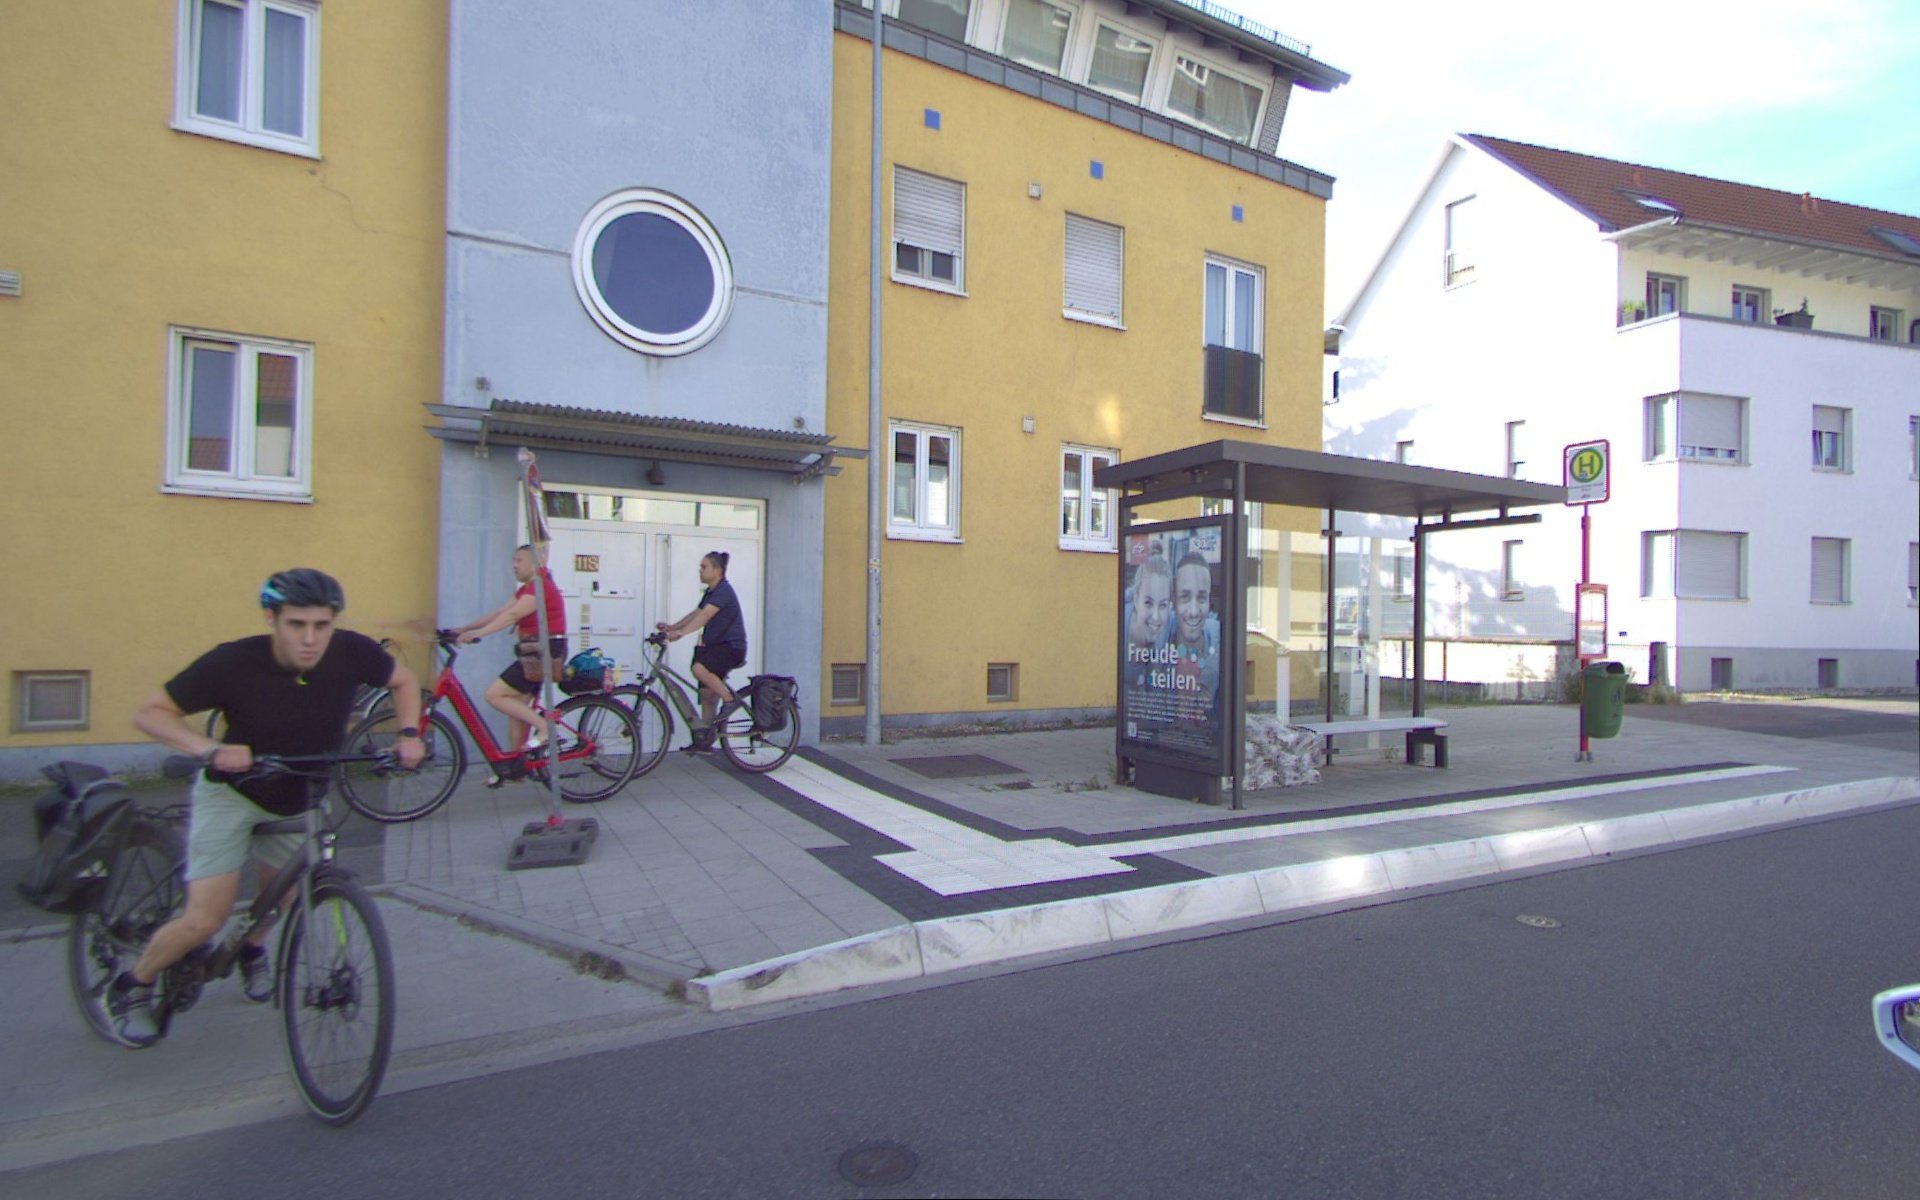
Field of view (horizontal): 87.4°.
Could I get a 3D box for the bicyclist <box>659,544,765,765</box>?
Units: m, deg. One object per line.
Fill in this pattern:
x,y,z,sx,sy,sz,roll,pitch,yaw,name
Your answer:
-2.023,0.421,8.168,0.658,1.691,0.670,1,1,-30,bicyclist

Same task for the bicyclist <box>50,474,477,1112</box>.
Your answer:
-2.240,0.513,3.274,0.862,1.712,0.844,2,1,30,bicyclist

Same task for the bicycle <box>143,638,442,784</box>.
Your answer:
-5.169,0.824,7.945,1.883,1.010,0.713,1,0,-29,bicycle

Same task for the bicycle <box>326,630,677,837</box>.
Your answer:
-2.943,0.797,6.574,1.999,1.176,0.608,1,1,-31,bicycle

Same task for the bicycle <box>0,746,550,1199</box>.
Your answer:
-2.252,1.036,3.209,1.991,0.866,0.679,2,0,31,bicycle

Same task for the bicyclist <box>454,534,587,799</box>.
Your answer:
-2.907,0.412,6.623,0.719,1.625,0.666,1,1,-30,bicyclist

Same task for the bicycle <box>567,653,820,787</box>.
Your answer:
-2.134,0.919,8.120,1.851,0.924,0.687,1,0,-30,bicycle
